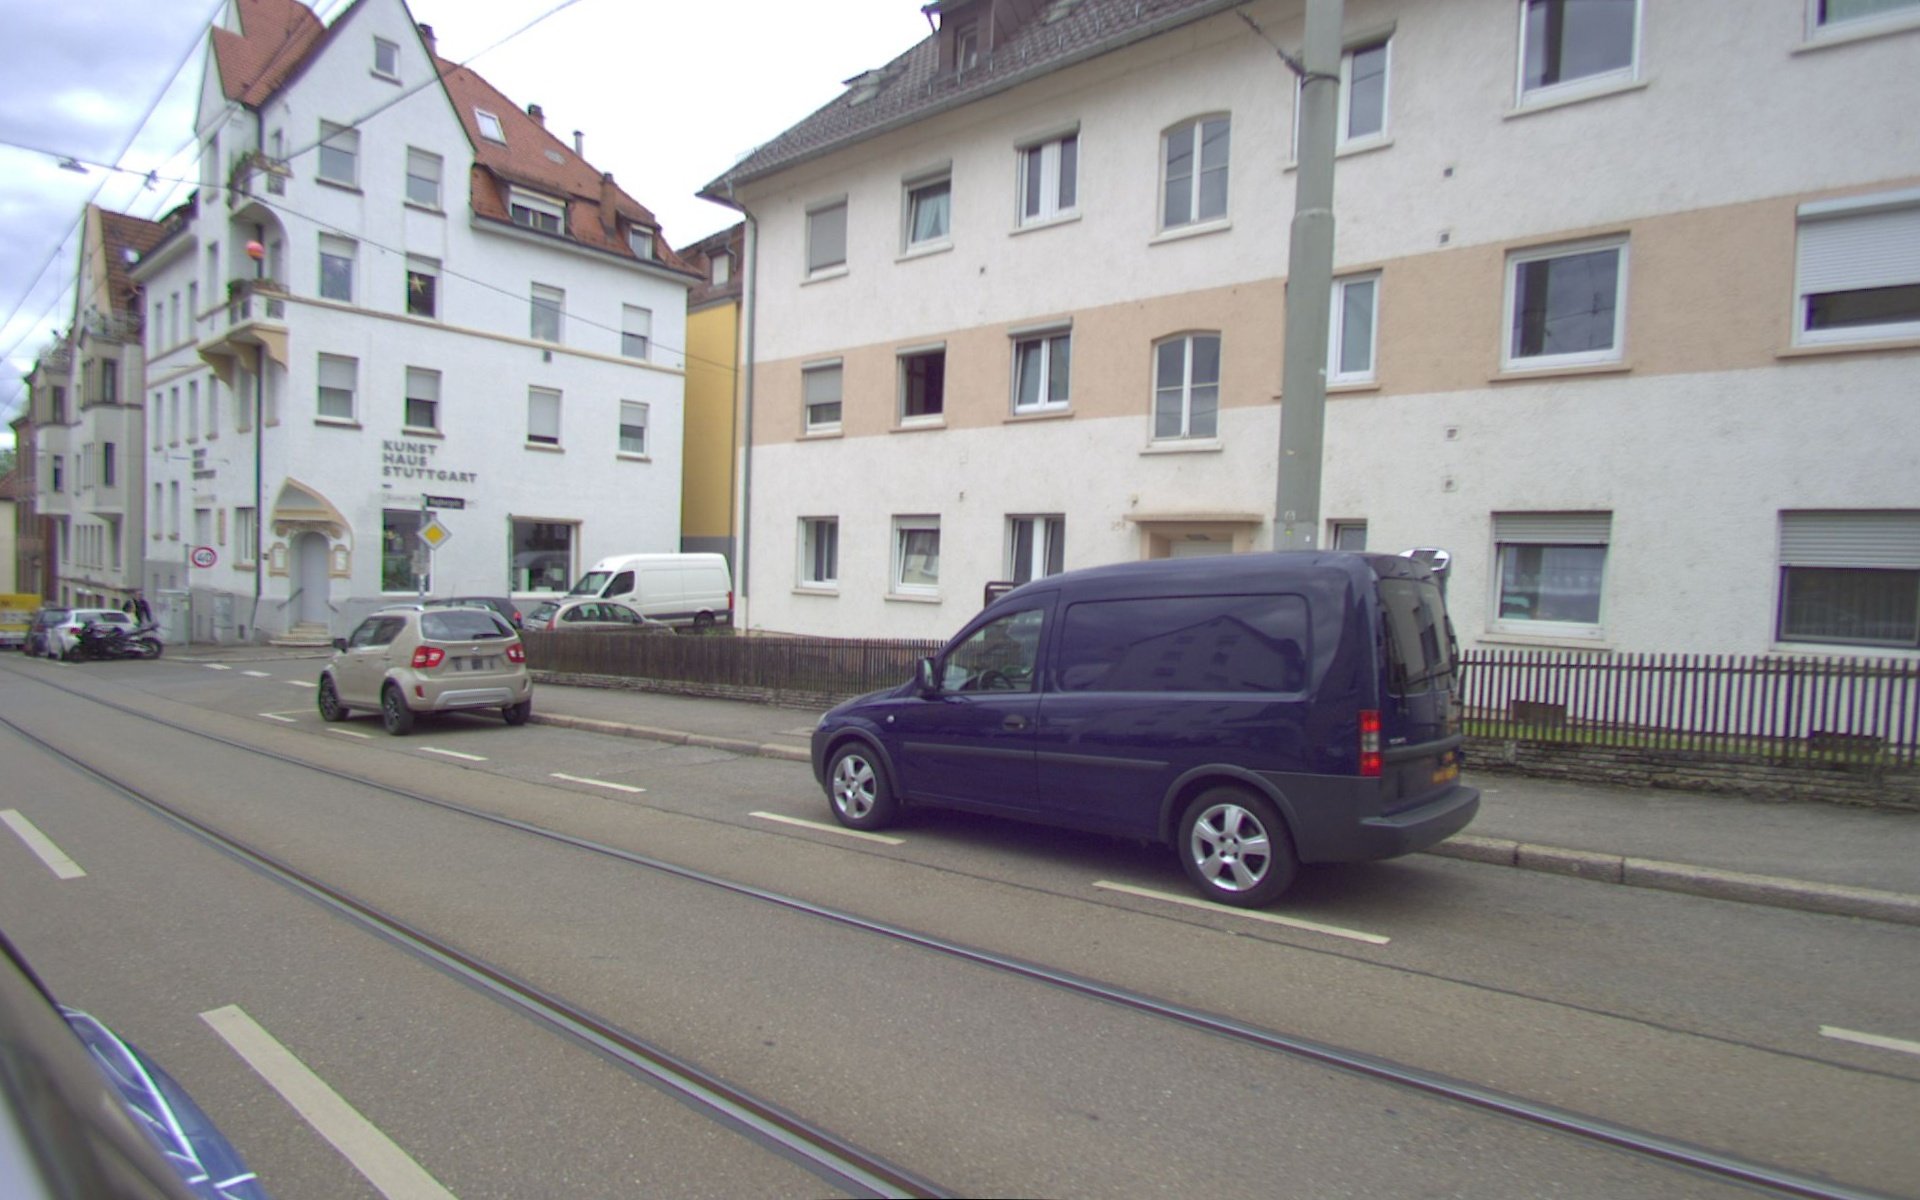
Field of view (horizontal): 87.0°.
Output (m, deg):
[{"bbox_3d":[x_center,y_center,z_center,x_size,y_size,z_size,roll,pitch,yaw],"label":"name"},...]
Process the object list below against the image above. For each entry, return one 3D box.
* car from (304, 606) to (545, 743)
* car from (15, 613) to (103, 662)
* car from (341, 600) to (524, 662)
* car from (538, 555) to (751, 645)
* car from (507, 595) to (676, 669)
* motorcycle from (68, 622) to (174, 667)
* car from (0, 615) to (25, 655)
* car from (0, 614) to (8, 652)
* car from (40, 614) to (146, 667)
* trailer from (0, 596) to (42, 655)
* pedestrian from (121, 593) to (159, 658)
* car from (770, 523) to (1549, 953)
[{"bbox_3d":[-7.320,0.899,13.677,3.849,1.568,1.679,-1,0,42],"label":"car"},{"bbox_3d":[-28.456,1.170,31.949,3.022,1.480,1.679,-1,-3,41],"label":"car"},{"bbox_3d":[-13.997,0.767,27.004,1.754,1.475,3.945,-1,1,42],"label":"car"},{"bbox_3d":[-9.762,-0.048,31.820,2.191,2.551,6.126,-1,1,42],"label":"car"},{"bbox_3d":[-8.983,0.716,24.819,1.777,1.503,3.478,6,5,41],"label":"car"},{"bbox_3d":[-22.185,1.163,26.808,2.080,1.143,0.768,1,-2,-36],"label":"motorcycle"},{"bbox_3d":[-40.140,1.437,41.848,4.266,1.606,1.679,-2,-3,41],"label":"car"},{"bbox_3d":[-44.761,1.503,45.880,4.889,1.677,1.854,-2,-3,41],"label":"car"},{"bbox_3d":[-24.542,1.093,28.597,4.290,1.367,1.761,-1,-1,42],"label":"car"},{"bbox_3d":[-37.021,1.007,39.146,4.069,2.172,1.730,-2,-3,41],"label":"trailer"},{"bbox_3d":[-25.173,0.768,31.069,0.810,1.919,0.583,-1,5,40],"label":"pedestrian"},{"bbox_3d":[0.903,0.616,6.294,4.518,1.749,1.725,-1,-3,42],"label":"car"}]
